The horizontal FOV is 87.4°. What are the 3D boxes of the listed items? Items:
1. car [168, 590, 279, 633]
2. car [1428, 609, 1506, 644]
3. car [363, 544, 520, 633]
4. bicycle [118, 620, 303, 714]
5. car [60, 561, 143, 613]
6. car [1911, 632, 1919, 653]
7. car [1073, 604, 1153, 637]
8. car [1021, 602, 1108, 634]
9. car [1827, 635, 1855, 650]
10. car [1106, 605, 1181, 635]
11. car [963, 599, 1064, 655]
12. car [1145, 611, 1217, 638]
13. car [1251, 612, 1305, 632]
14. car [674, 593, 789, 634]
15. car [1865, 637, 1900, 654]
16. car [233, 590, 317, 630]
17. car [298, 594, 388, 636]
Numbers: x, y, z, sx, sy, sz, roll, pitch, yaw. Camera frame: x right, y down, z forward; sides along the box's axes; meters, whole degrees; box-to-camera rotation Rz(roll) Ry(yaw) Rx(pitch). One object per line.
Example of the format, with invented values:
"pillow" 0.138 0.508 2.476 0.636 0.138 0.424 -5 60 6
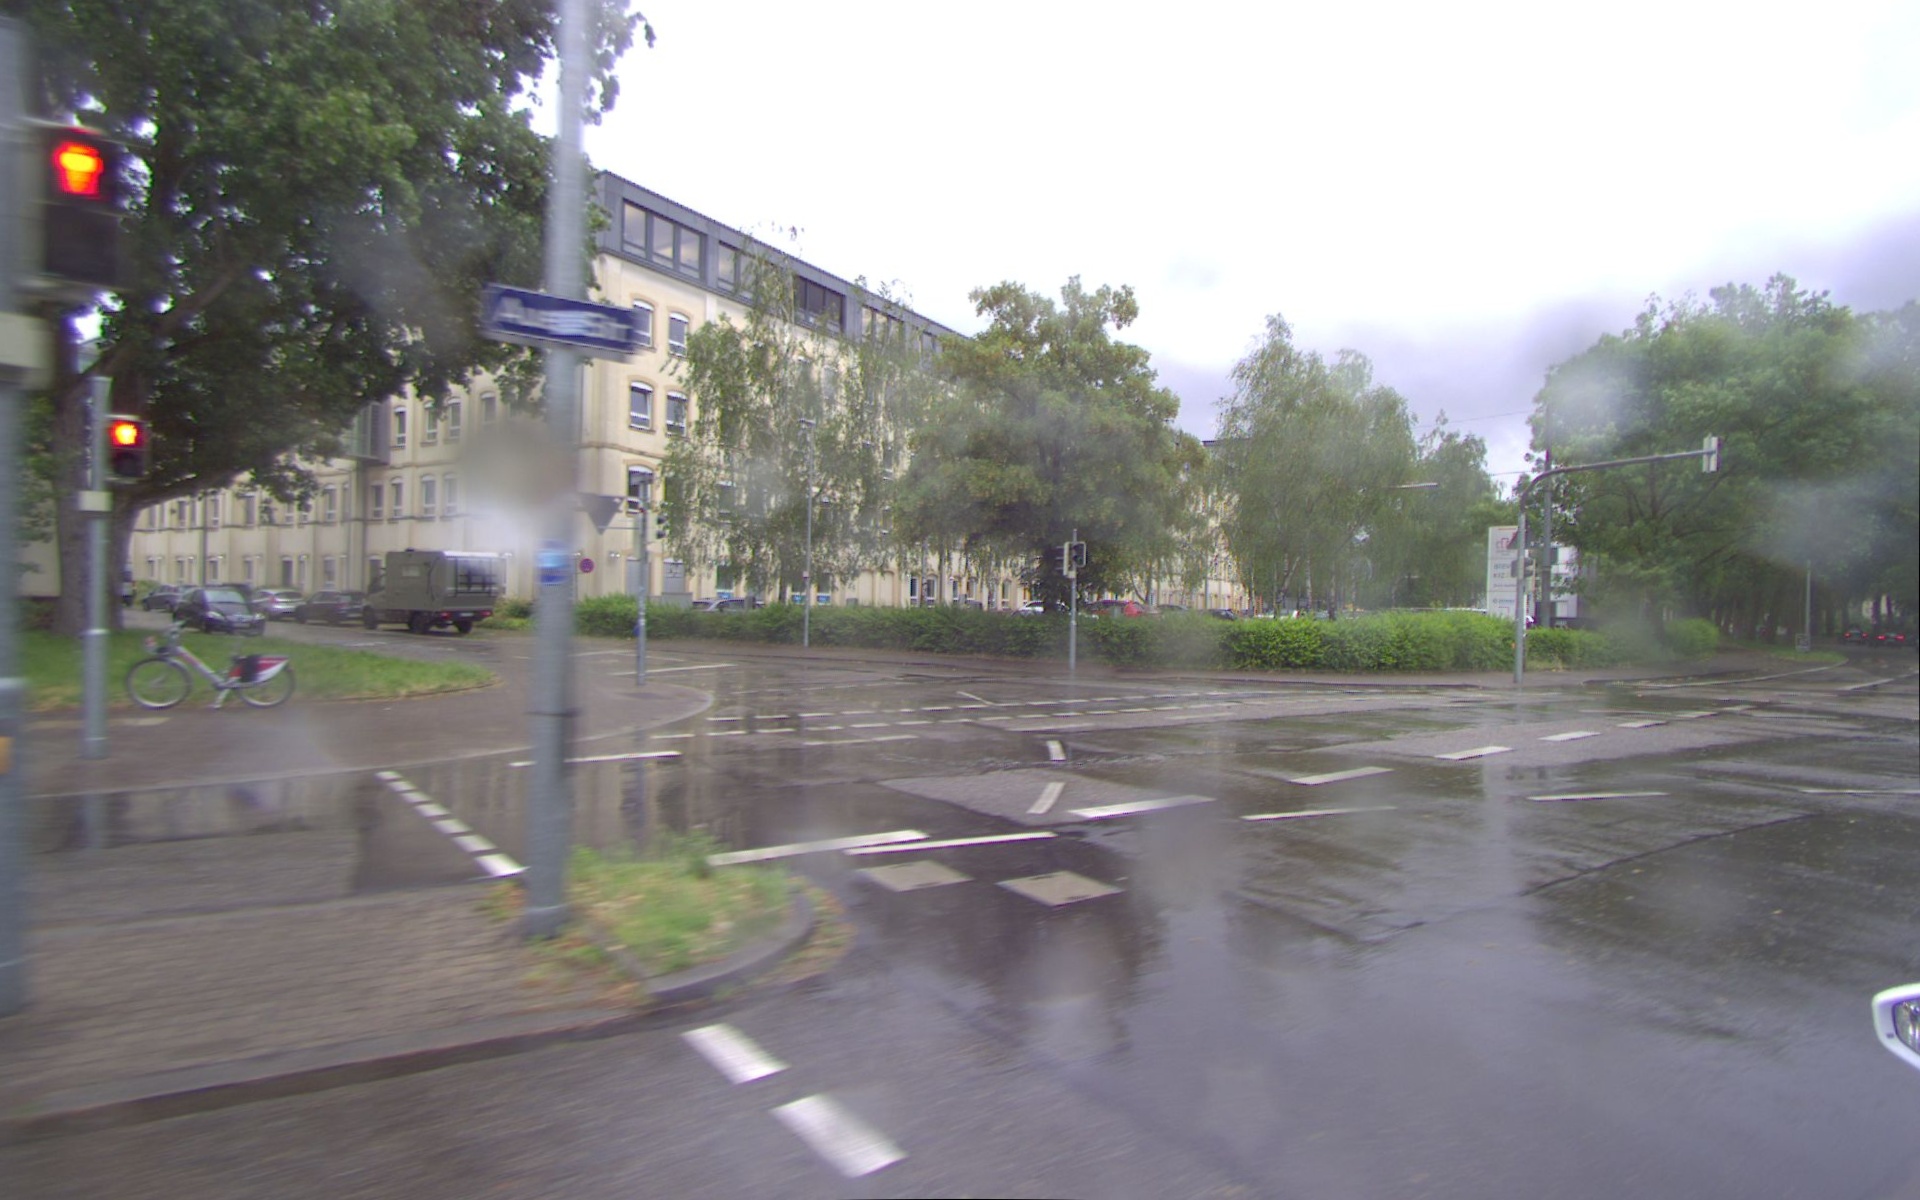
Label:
"car" -25.925 0.385 35.341 4.028 1.286 1.901 2 1 34
"car" 30.018 1.515 59.449 3.930 1.857 1.850 2 1 32
"car" -20.566 -0.496 39.741 6.109 3.236 2.831 2 1 33
"bicycle" -9.296 0.815 12.544 1.776 1.091 0.552 2 1 -32
"car" -50.868 -0.778 59.506 5.520 2.909 2.330 2 1 34
"car" 67.841 2.978 70.019 1.683 1.430 3.633 -1 -1 34
"car" 8.460 1.121 55.660 3.931 1.708 1.995 1 0 33
"car" 5.355 0.896 51.582 3.932 1.539 1.995 1 0 33
"car" 89.469 4.337 101.984 1.683 1.430 3.633 -1 -1 34
"car" 10.914 1.161 59.776 3.932 1.708 1.994 1 0 34
"car" 1.828 0.865 32.996 1.750 1.708 4.019 1 0 28
"car" 14.024 1.532 63.843 3.932 1.580 2.158 1 0 34
"car" 26.853 1.848 84.780 3.932 1.581 1.994 1 0 34
"car" -9.361 0.546 41.488 1.966 1.520 4.519 2 1 34
"car" 79.947 3.919 87.077 1.683 1.430 3.633 -1 -1 34
"car" -32.244 0.446 47.239 3.932 1.703 1.889 2 1 33
"car" -27.307 0.630 44.436 3.932 1.679 1.889 2 1 33
